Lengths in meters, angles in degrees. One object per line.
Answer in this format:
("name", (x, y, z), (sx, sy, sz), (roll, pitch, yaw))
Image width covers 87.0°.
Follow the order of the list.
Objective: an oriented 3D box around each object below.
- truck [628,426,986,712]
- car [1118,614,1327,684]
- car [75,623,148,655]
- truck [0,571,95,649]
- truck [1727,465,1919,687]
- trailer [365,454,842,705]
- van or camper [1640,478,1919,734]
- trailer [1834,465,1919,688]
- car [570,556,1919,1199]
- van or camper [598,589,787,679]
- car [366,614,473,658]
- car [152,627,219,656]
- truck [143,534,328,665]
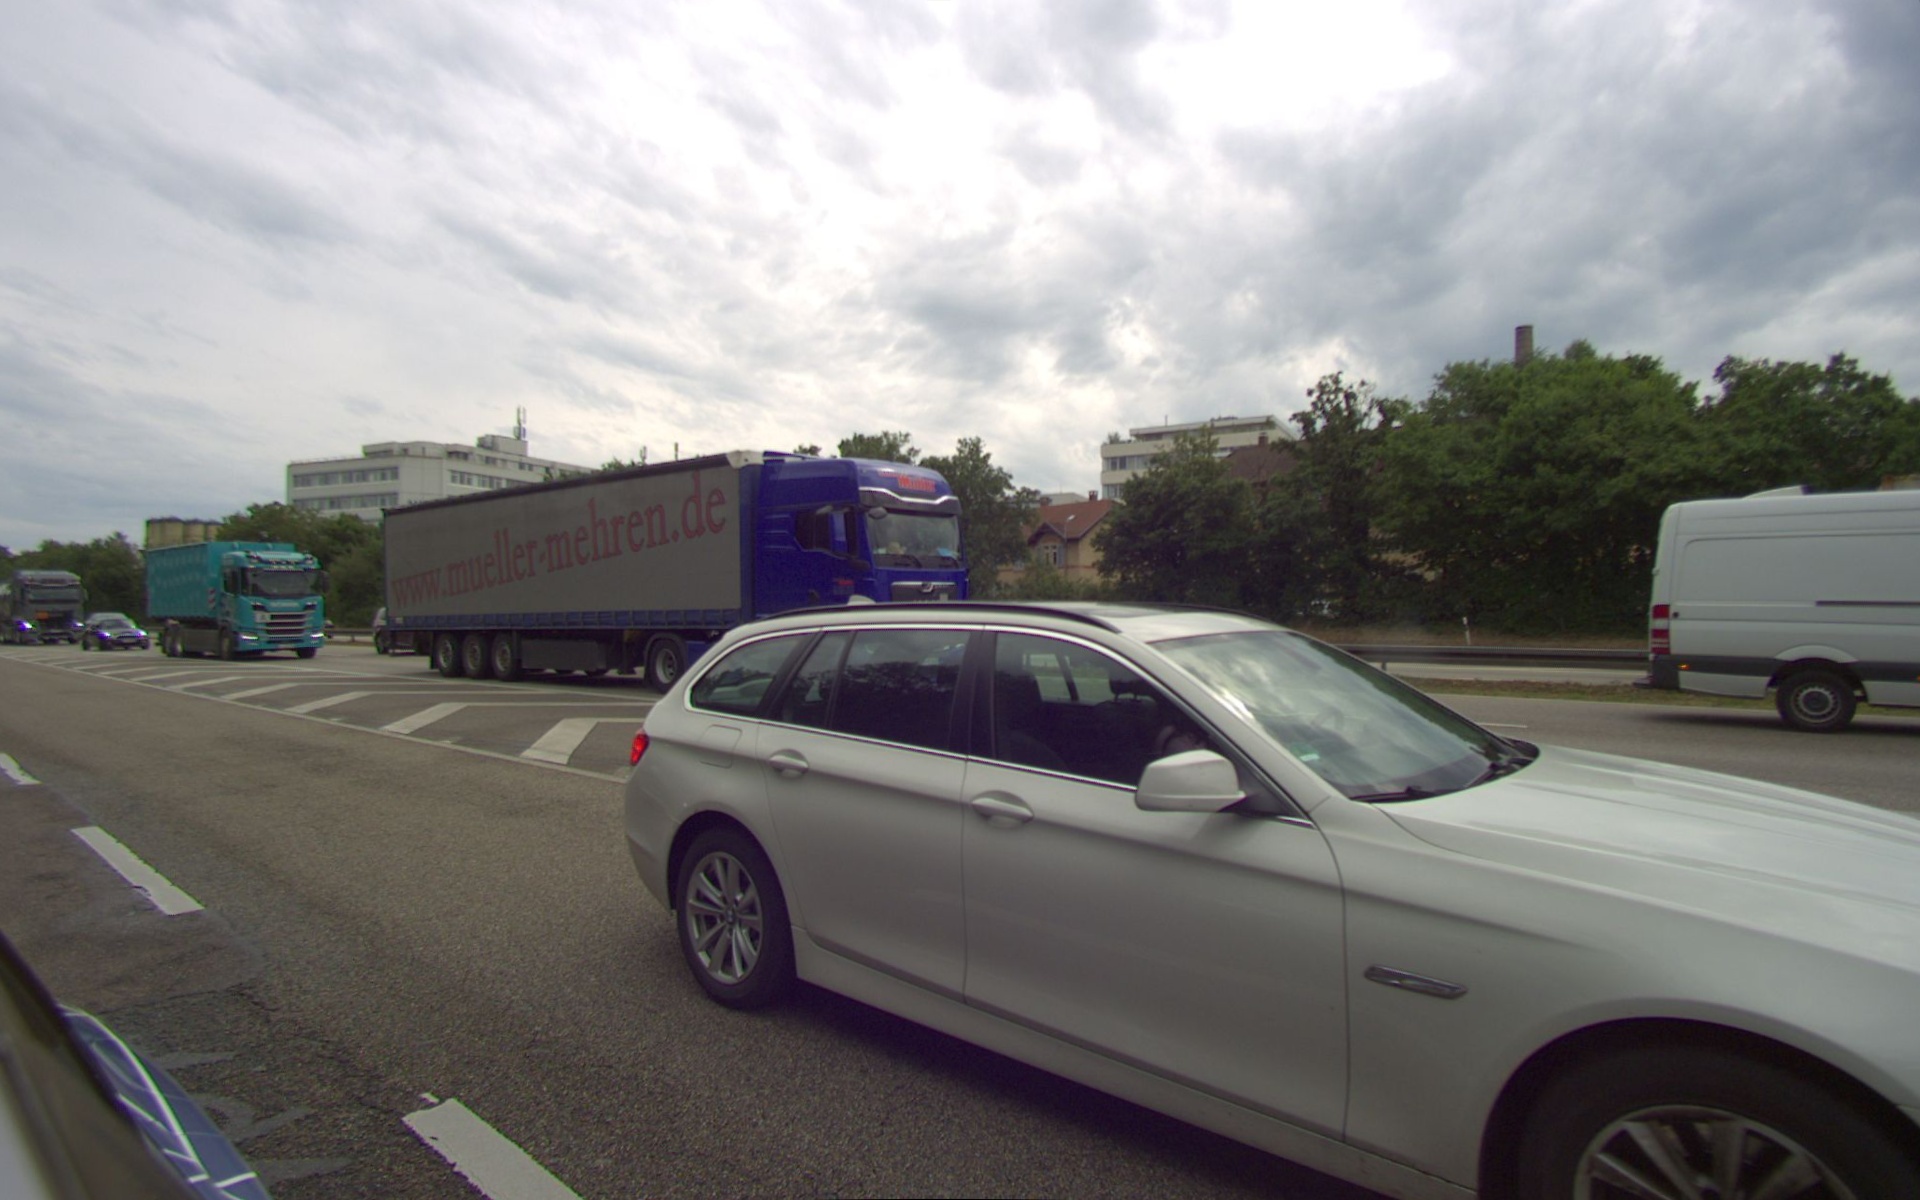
("truck", (-2.718, -0.380, 16.986), (5.920, 3.991, 2.643), (-1, -1, 39))
("car", (6.247, 1.115, 24.339), (4.460, 1.520, 1.974), (-1, -1, 39))
("car", (-37.494, 1.704, 44.683), (3.995, 1.332, 1.735), (-1, -1, 39))
("truck", (-52.356, 0.630, 56.648), (13.123, 3.955, 3.288), (-1, -1, 37))
("truck", (17.644, -0.413, 19.830), (3.997, 4.051, 2.381), (-1, -2, 41))
("trailer", (-8.368, -0.219, 21.537), (13.903, 4.005, 2.647), (-1, -1, 39))
("van or camper", (11.363, 0.055, 10.501), (6.951, 2.641, 2.028), (-1, -1, 40))
("trailer", (22.344, -0.505, 15.786), (13.069, 4.060, 2.373), (-1, -1, 41))
("car", (0.805, 0.692, 3.363), (4.881, 1.475, 1.840), (-1, -1, 41))
("van or camper", (-6.422, 0.774, 24.002), (4.847, 1.935, 1.901), (-1, -1, 40))
("car", (-19.059, 1.242, 35.648), (3.994, 1.444, 1.875), (-1, -1, 38))
("car", (-40.957, 2.180, 53.495), (4.049, 1.444, 1.875), (-1, -1, 38))
("truck", (-25.396, 0.071, 35.206), (10.113, 4.031, 2.667), (-1, -1, 39))
